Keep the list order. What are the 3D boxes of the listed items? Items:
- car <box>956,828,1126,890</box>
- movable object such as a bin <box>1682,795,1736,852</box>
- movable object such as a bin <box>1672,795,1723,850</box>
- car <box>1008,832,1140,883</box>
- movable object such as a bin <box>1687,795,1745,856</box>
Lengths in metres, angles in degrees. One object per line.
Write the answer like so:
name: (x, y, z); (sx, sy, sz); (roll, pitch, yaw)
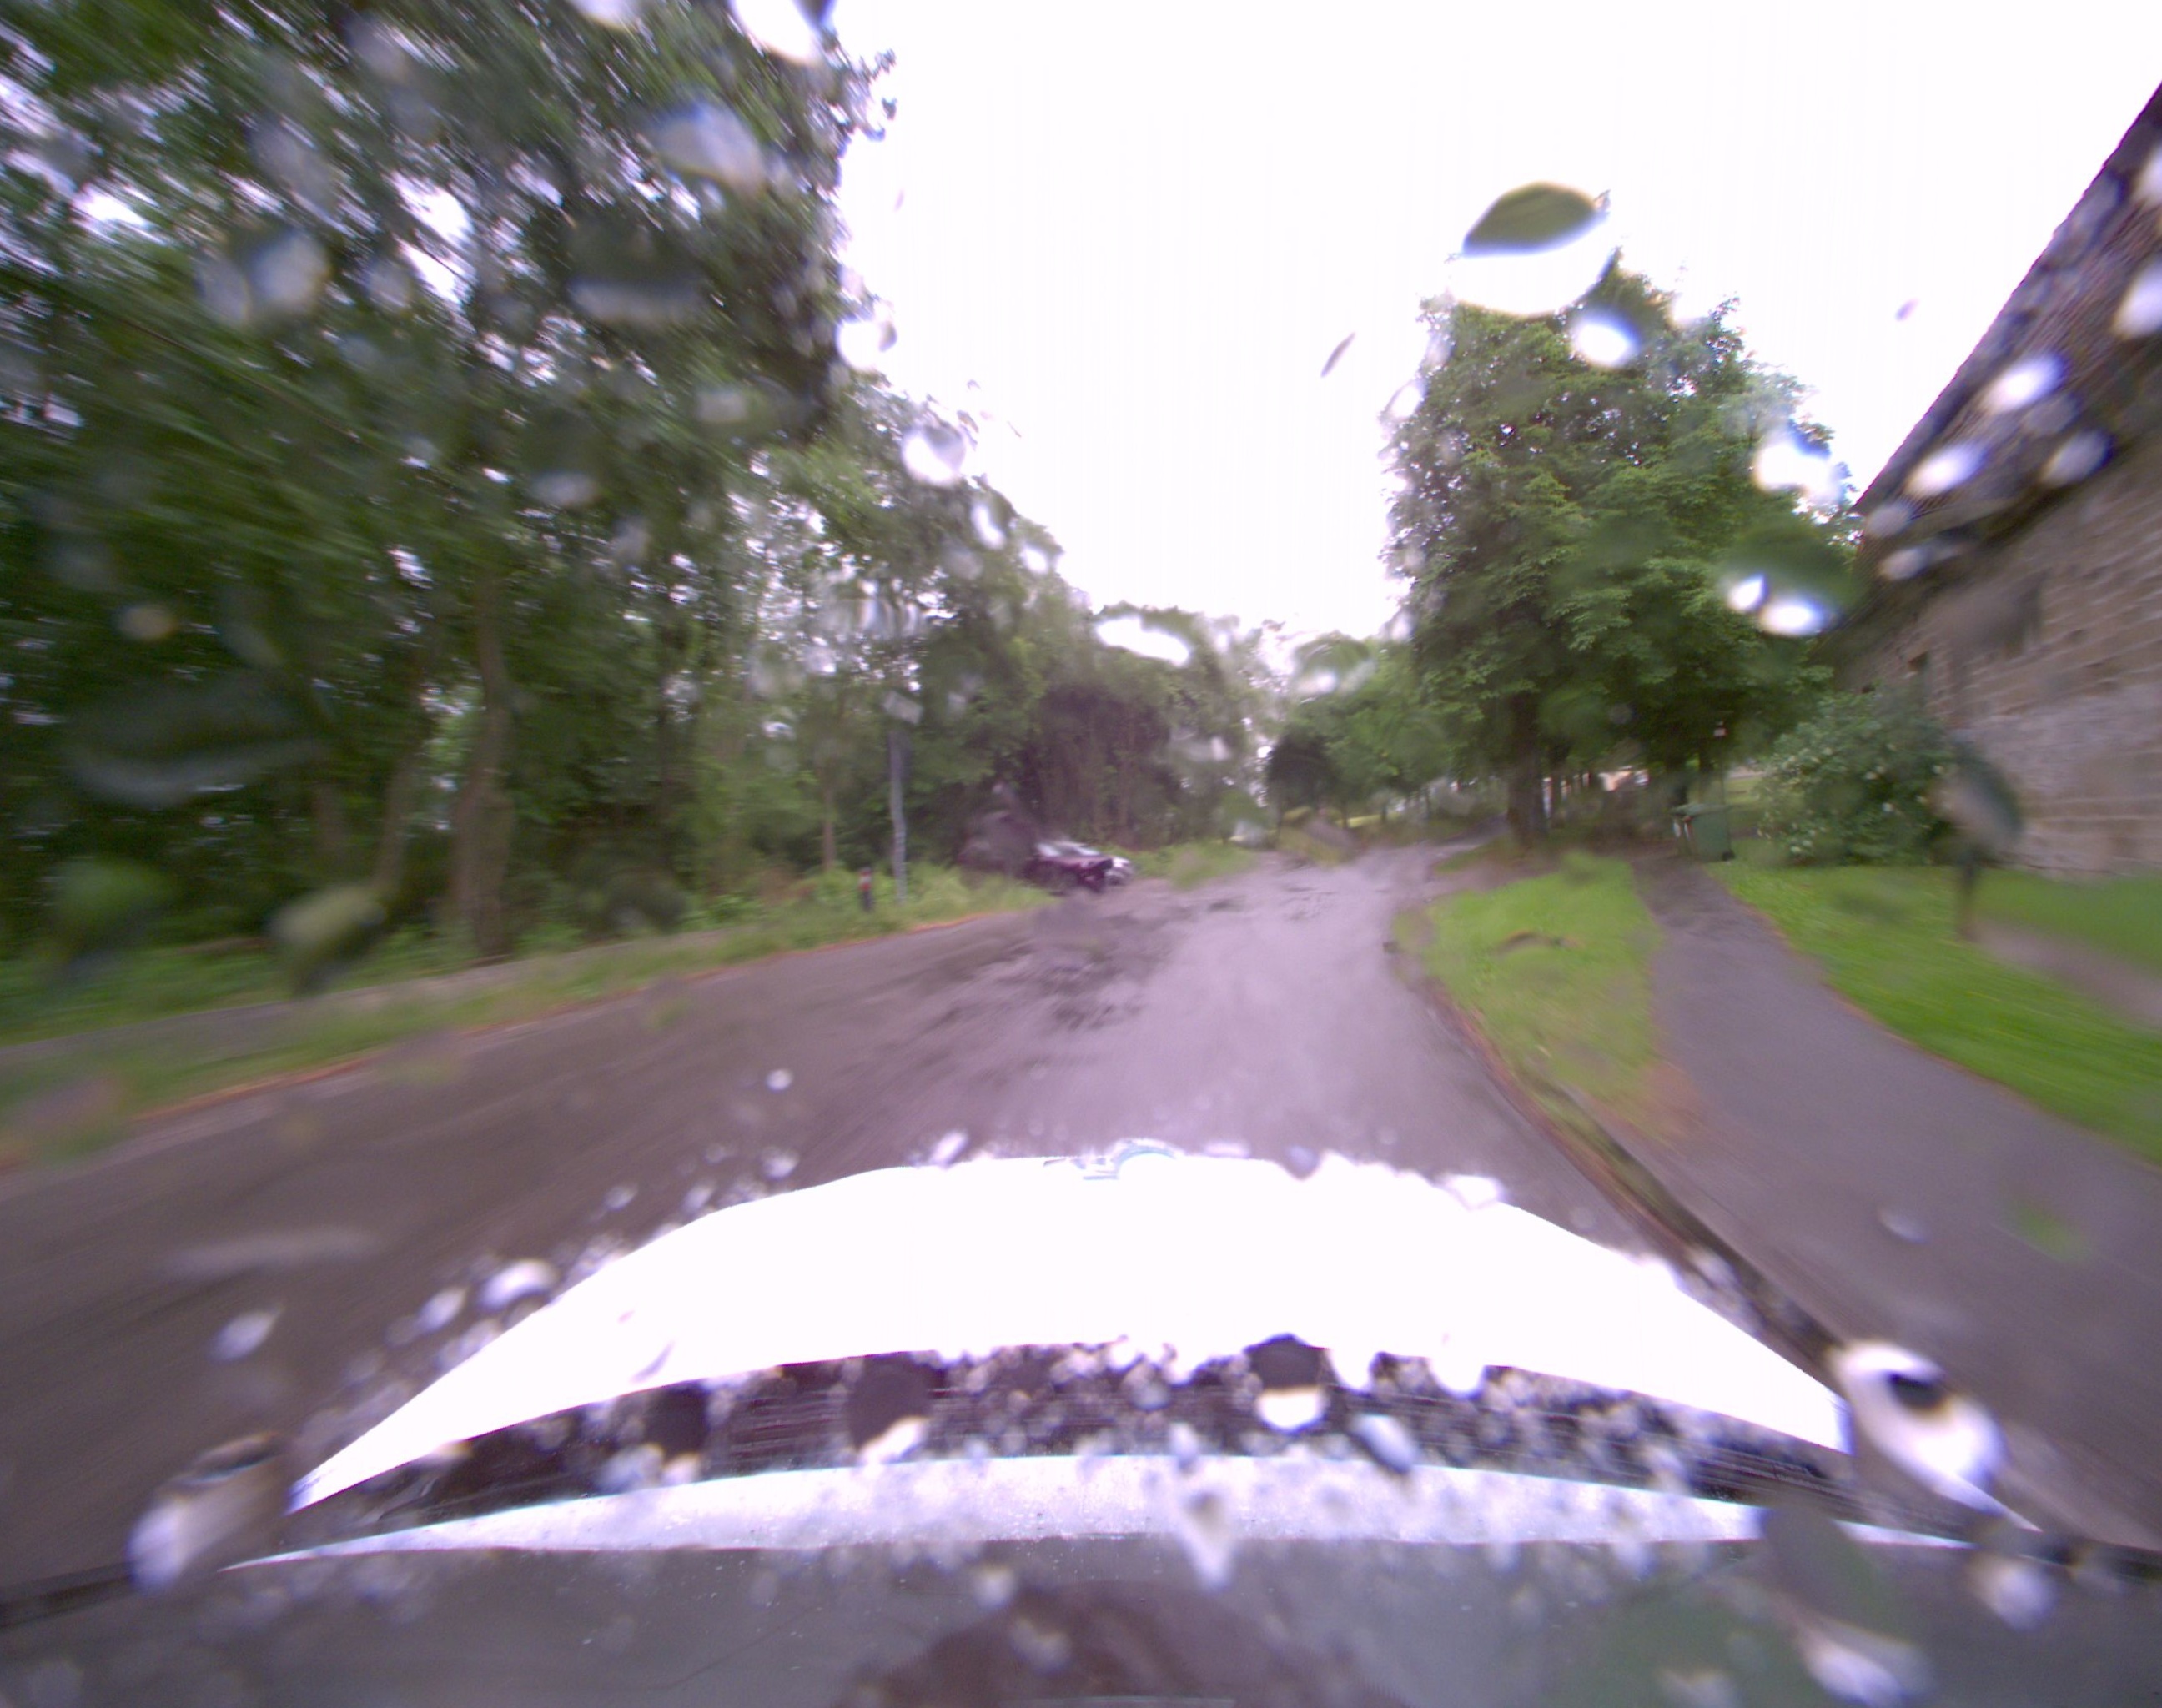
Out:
car: (-1.230, 0.166, 24.959); (4.781, 1.677, 1.887); (-2, 2, 25)
movable object such as a bin: (12.674, -0.614, 16.457); (0.689, 1.039, 0.579); (-11, -3, 35)
movable object such as a bin: (12.921, -0.662, 17.091); (0.689, 1.039, 0.665); (-11, -3, 35)
car: (-0.236, 0.130, 28.037); (4.097, 1.554, 1.785); (-1, 2, 26)
movable object such as a bin: (11.985, -0.536, 15.384); (0.689, 1.039, 0.579); (-11, -3, 35)
